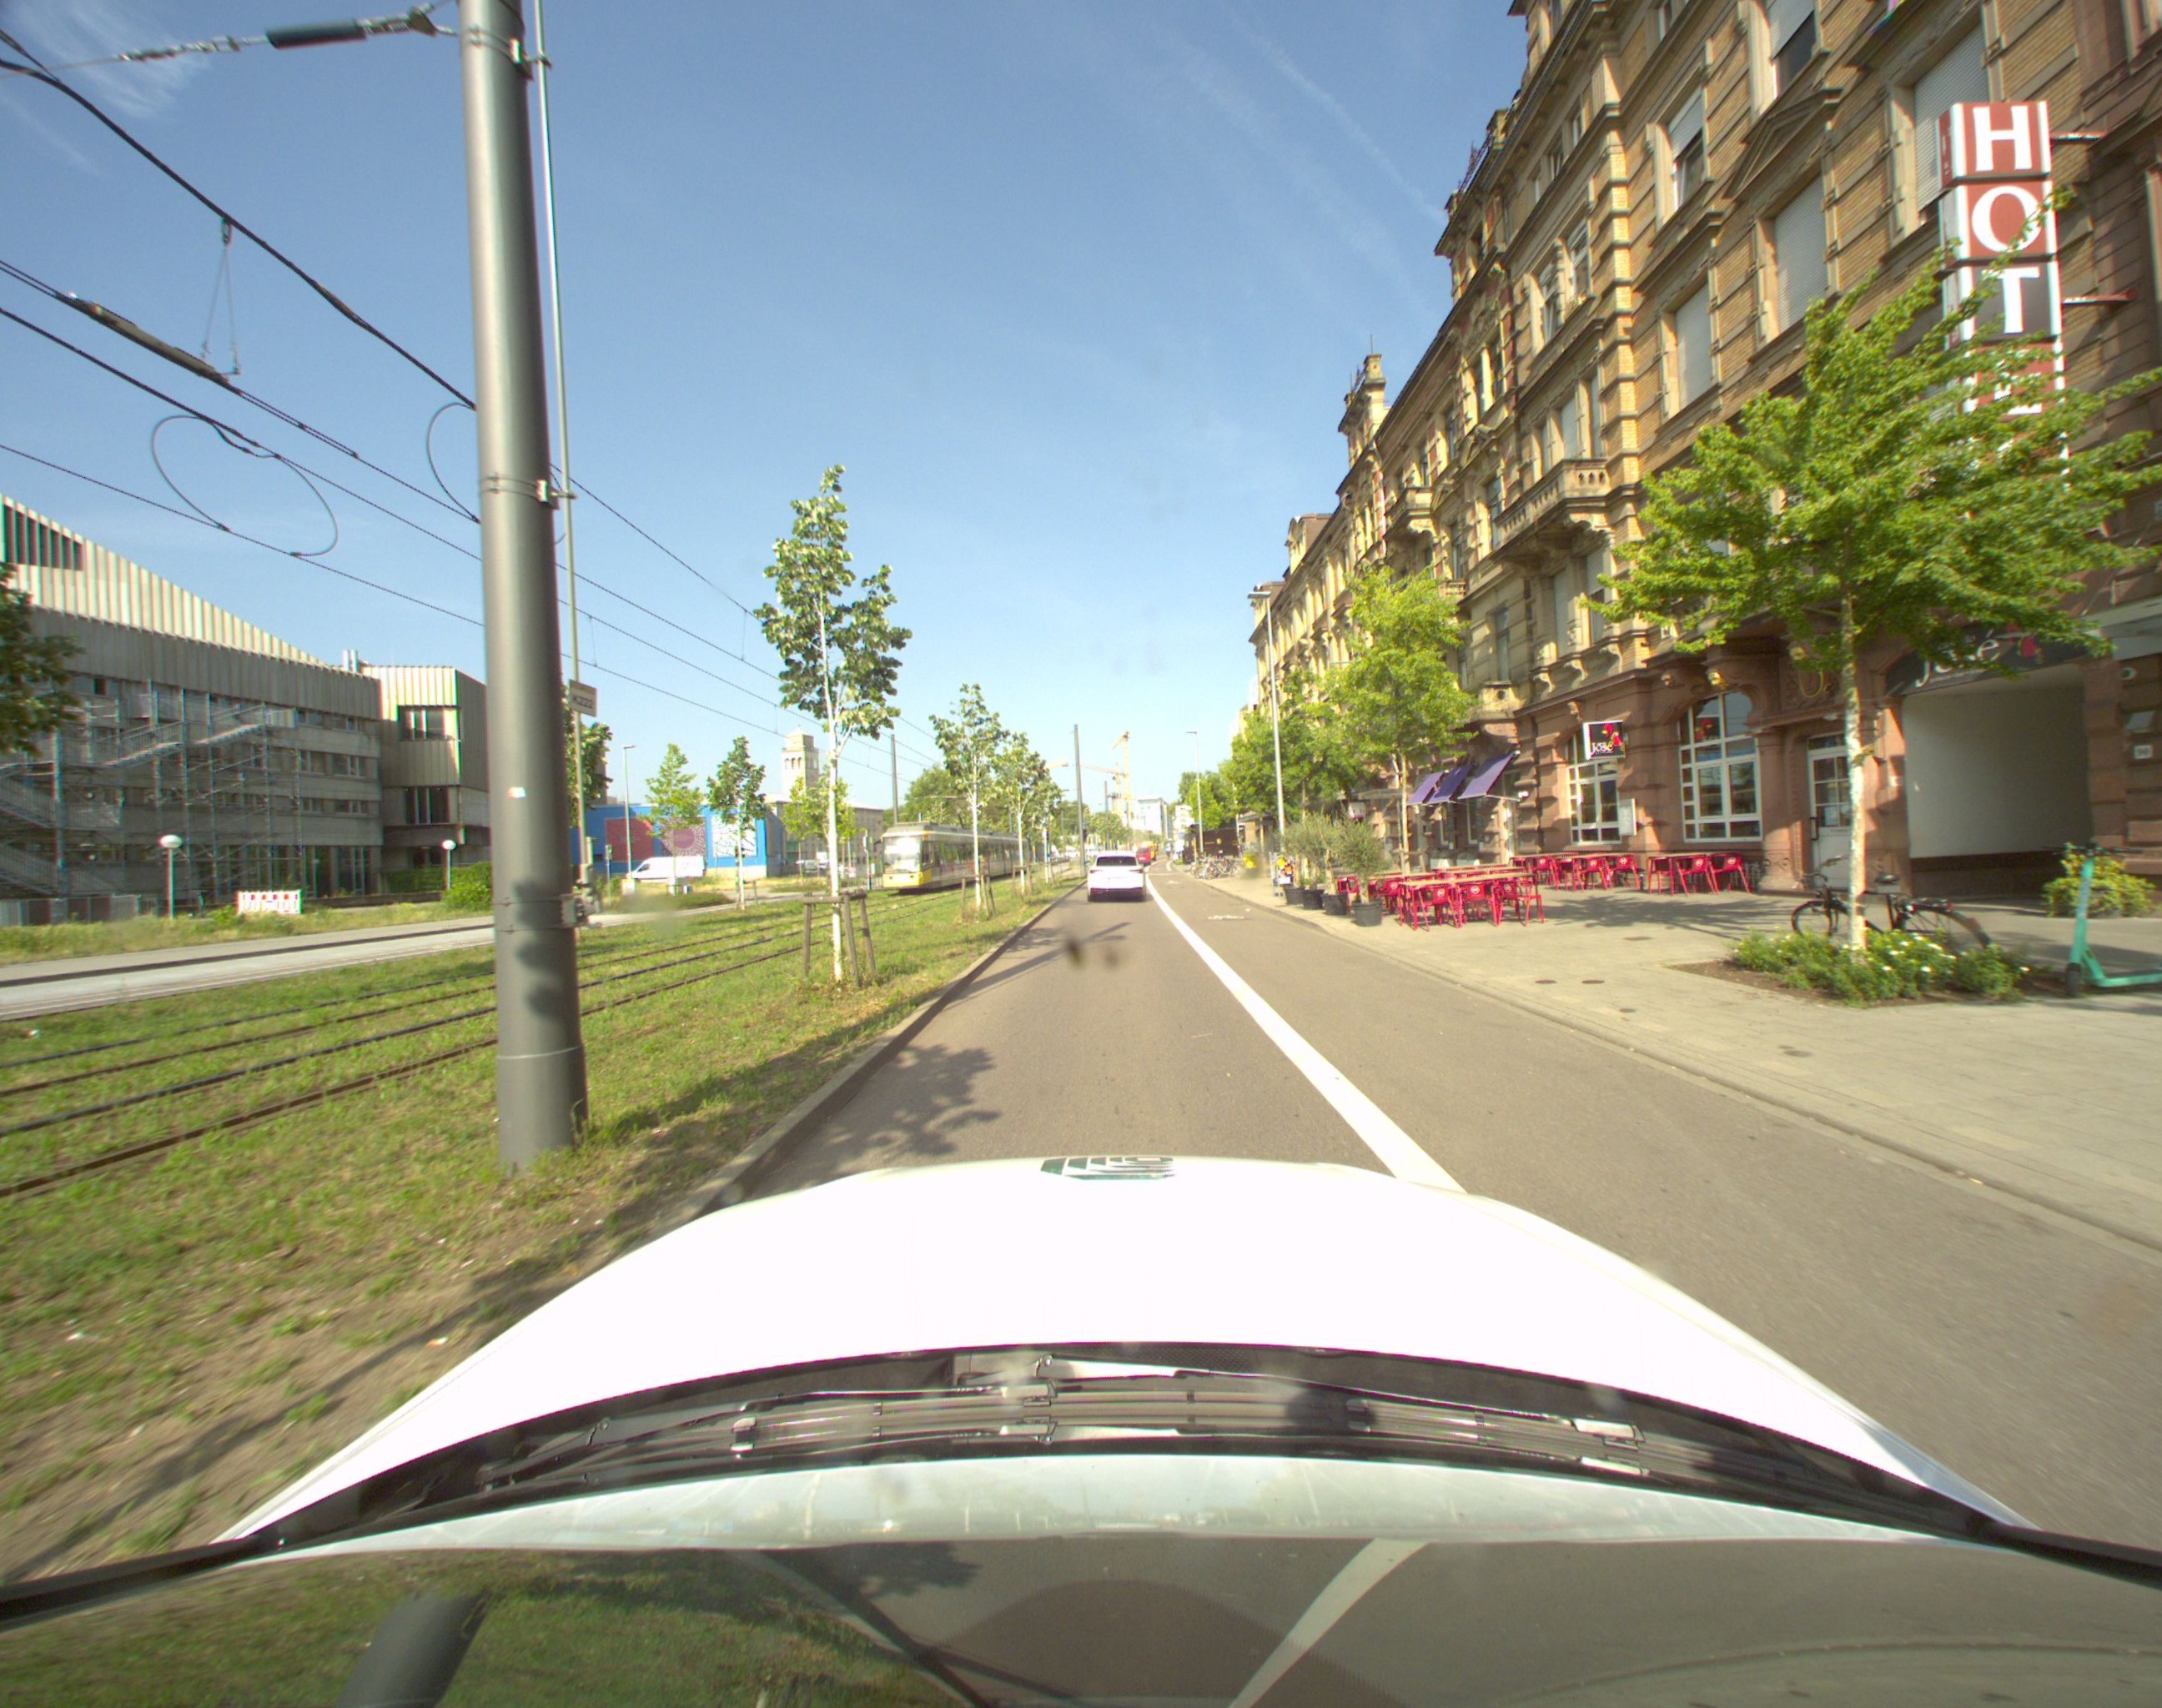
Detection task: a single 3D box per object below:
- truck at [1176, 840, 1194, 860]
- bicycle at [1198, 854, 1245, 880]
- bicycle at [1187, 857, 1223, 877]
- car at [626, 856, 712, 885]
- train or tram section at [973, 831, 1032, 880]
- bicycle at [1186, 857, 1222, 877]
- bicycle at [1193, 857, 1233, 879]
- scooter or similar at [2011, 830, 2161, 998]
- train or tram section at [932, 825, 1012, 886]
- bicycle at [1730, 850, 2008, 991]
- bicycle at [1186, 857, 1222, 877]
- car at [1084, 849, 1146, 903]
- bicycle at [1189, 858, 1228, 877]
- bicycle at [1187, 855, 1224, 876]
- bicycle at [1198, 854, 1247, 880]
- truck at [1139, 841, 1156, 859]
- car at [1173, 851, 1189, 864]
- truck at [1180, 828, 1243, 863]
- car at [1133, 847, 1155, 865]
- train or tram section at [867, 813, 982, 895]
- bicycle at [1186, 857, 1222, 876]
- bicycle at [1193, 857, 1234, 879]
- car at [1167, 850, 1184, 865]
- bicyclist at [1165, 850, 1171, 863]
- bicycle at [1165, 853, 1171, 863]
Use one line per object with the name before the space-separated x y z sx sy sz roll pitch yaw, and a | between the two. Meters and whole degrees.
truck | 13.588 -0.483 107.022 1.985 2.508 4.004 -2 0 4
bicycle | 7.001 0.642 40.645 2.230 1.104 0.519 -5 0 3
bicycle | 6.880 0.716 45.314 1.925 0.945 0.441 -5 0 5
car | -38.581 1.500 76.458 6.897 2.638 2.498 0 -1 -20
train or tram section | -6.434 0.132 68.827 2.886 3.586 12.236 -3 0 3
bicycle | 6.970 0.723 46.175 1.925 0.945 0.429 -5 0 5
bicycle | 6.795 0.710 42.011 1.947 0.986 0.471 -5 0 3
scooter or similar | 7.907 0.428 6.126 1.250 1.157 0.340 -5 -1 5
train or tram section | -7.221 0.103 56.296 2.886 3.586 12.945 -3 0 3
bicycle | 7.196 0.546 7.602 0.594 1.122 1.923 -2 0 -5
bicycle | 6.928 0.720 45.792 1.925 0.945 0.441 -5 0 5
car | 1.095 0.664 26.687 1.810 1.590 4.408 -2 0 2
bicycle | 6.763 0.725 43.214 1.926 0.874 0.441 -5 0 3
bicycle | 6.858 0.628 44.866 1.925 1.013 0.441 -5 0 5
bicycle | 6.958 0.638 40.091 2.230 1.104 0.589 -5 0 3
truck | 9.274 -0.529 114.649 2.203 2.318 5.896 -2 0 4
car | 11.423 0.349 93.278 1.640 1.385 3.535 -2 0 9
truck | 11.818 -0.699 74.397 2.518 3.011 6.912 -2 0 -20
car | 6.378 0.199 81.570 1.983 1.684 4.377 -2 0 6
train or tram section | -7.950 0.028 43.588 2.886 3.586 12.488 -3 0 3
bicycle | 7.030 0.726 46.616 1.925 0.945 0.429 -5 0 5
bicycle | 6.753 0.706 41.532 1.926 0.986 0.471 -5 0 3
car | 10.369 0.409 89.061 1.640 1.499 3.535 -2 0 9
bicyclist | 13.195 0.355 123.311 0.706 1.895 0.844 -3 0 3
bicycle | 13.203 0.552 123.472 0.778 1.496 2.803 -3 0 3
